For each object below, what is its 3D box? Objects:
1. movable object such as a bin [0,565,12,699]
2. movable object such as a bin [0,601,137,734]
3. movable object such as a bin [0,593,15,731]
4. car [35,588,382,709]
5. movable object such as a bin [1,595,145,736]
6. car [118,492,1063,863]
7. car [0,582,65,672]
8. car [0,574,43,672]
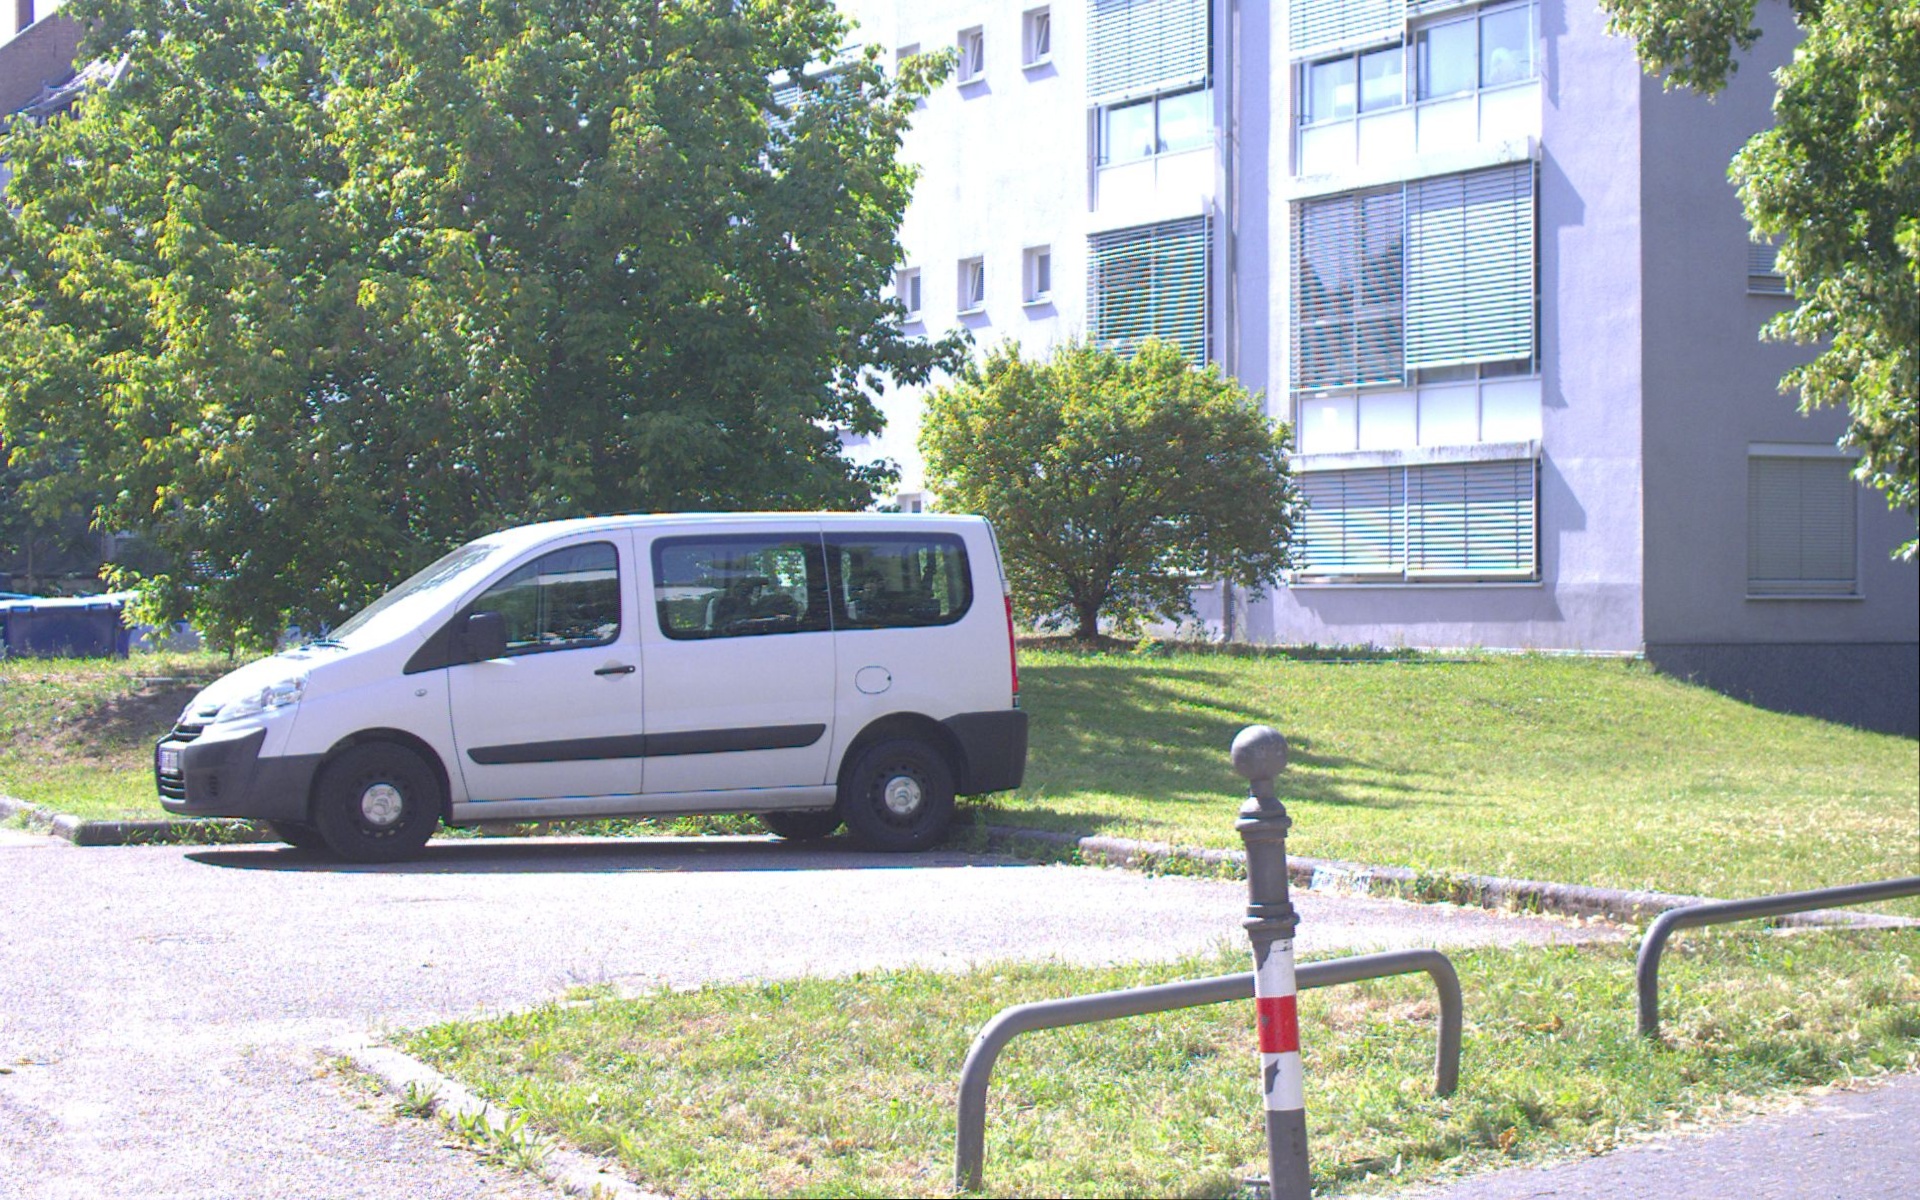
[{"bbox_3d":[-10.412,0.332,35.005,1.247,1.350,1.129,-1,0,-27],"label":"movable object such as a bin"},{"bbox_3d":[-9.243,0.684,35.604,1.155,1.332,1.142,-1,0,-27],"label":"movable object such as a bin"},{"bbox_3d":[-9.868,0.629,33.218,1.247,1.315,1.142,-2,-1,-22],"label":"movable object such as a bin"},{"bbox_3d":[-9.556,0.588,43.738,3.986,1.422,1.812,-1,0,-26],"label":"car"},{"bbox_3d":[-8.746,0.630,33.877,1.247,1.336,1.142,-1,0,-21],"label":"movable object such as a bin"},{"bbox_3d":[-2.115,0.395,19.700,5.022,1.926,2.000,0,0,-22],"label":"car"},{"bbox_3d":[-17.907,0.492,59.717,4.228,1.527,2.000,-1,1,-27],"label":"car"},{"bbox_3d":[-19.479,0.448,62.582,4.952,1.761,2.096,-2,2,-36],"label":"car"}]
